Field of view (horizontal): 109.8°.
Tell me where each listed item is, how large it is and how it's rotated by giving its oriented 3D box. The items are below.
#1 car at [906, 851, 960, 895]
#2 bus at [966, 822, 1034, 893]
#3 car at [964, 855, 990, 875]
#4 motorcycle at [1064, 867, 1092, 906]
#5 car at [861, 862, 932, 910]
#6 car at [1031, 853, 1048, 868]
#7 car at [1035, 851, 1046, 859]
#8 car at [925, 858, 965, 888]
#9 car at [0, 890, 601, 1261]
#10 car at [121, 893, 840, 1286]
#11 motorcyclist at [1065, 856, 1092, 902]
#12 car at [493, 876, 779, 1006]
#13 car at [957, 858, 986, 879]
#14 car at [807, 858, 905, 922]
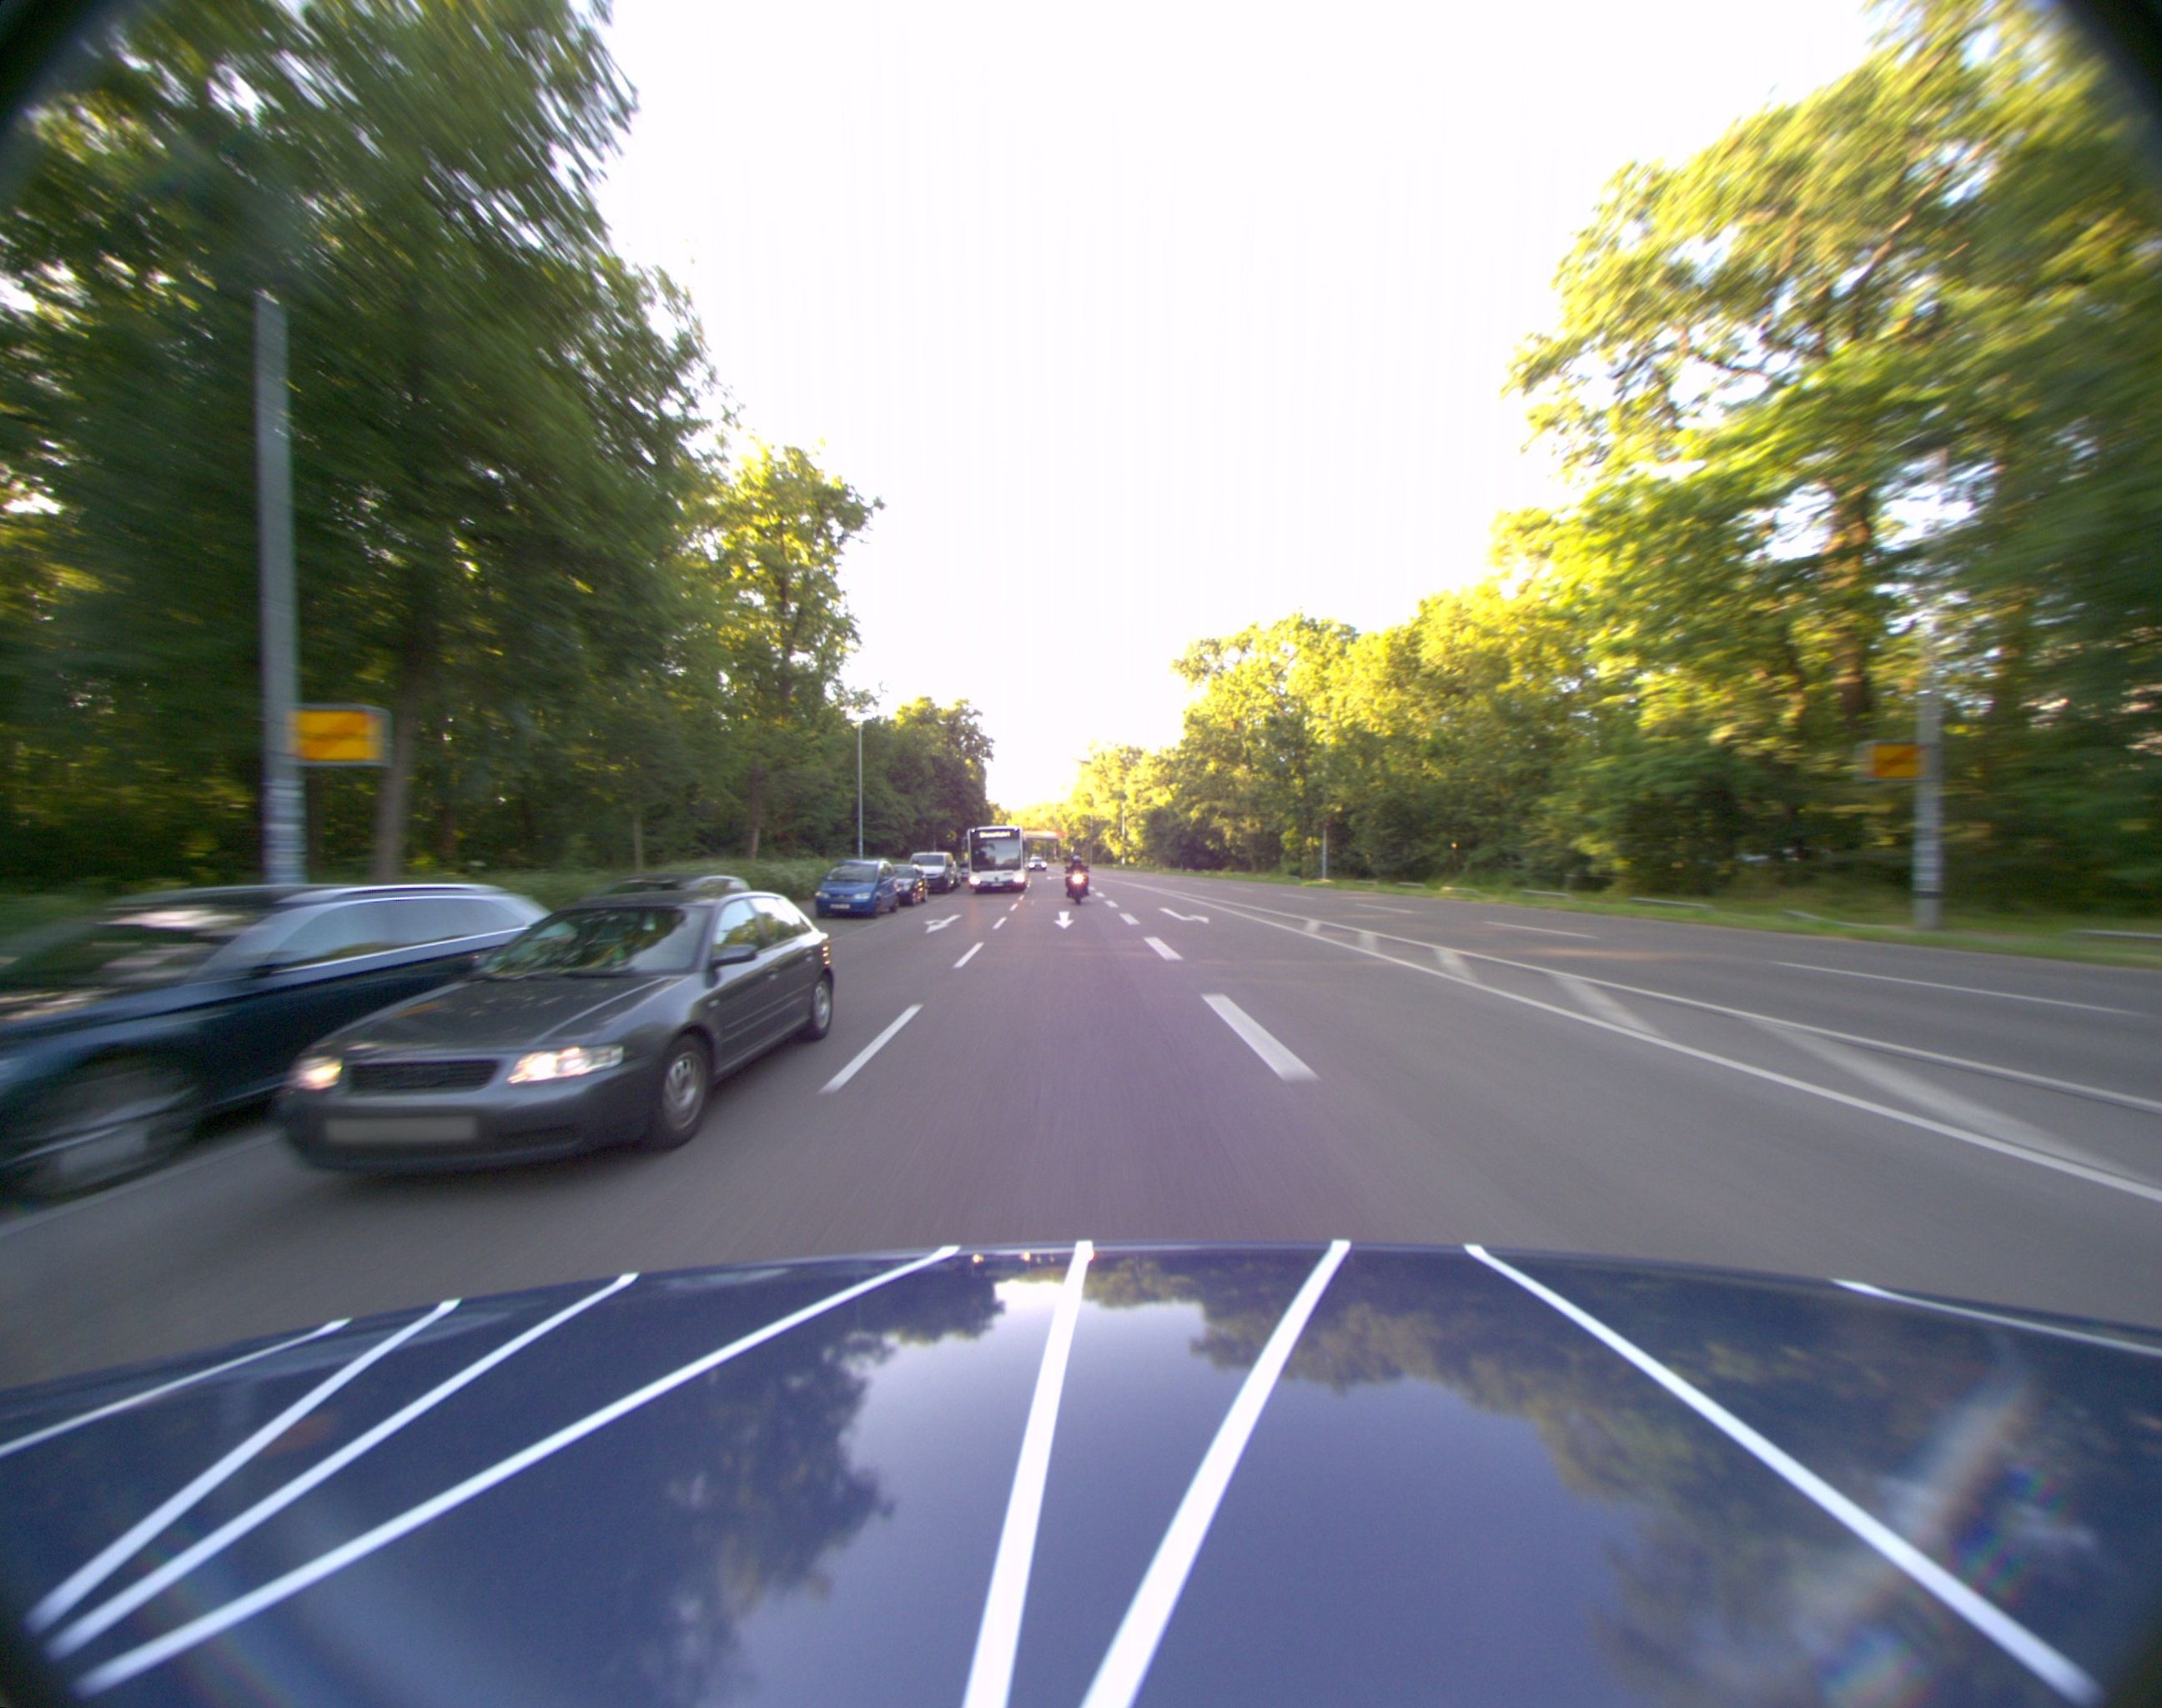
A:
[{"bbox_3d":[-7.103,0.829,36.982,1.820,1.910,5.265,-2,1,-4],"label":"car"},{"bbox_3d":[-3.976,0.170,40.047,2.813,3.030,12.882,-2,0,-3],"label":"bus"},{"bbox_3d":[-8.123,0.844,59.651,1.595,1.479,3.828,-2,1,-2],"label":"car"},{"bbox_3d":[-0.079,1.073,25.791,0.830,1.211,2.604,-1,0,2],"label":"motorcycle"},{"bbox_3d":[-6.556,1.088,27.427,1.820,1.470,3.827,-2,1,-4],"label":"car"},{"bbox_3d":[-4.451,0.718,82.374,1.679,1.552,3.993,-2,0,-2],"label":"car"},{"bbox_3d":[-8.389,0.220,157.472,1.845,1.682,4.649,-2,0,-8],"label":"car"},{"bbox_3d":[-7.663,1.049,43.103,1.820,1.501,3.827,-2,1,-5],"label":"car"},{"bbox_3d":[-5.827,1.126,5.201,1.766,1.460,5.116,0,1,1],"label":"car"},{"bbox_3d":[-3.097,1.073,5.131,1.679,1.351,3.994,-2,0,-1],"label":"car"},{"bbox_3d":[-0.075,0.839,25.783,0.830,1.484,1.024,-1,1,2],"label":"motorcyclist"},{"bbox_3d":[-6.166,1.096,11.209,1.676,1.396,4.230,0,1,1],"label":"car"},{"bbox_3d":[-7.833,1.004,54.775,1.595,1.375,3.828,-2,1,-2],"label":"car"},{"bbox_3d":[-6.398,0.969,22.022,1.819,1.624,3.828,0,1,-2],"label":"car"}]
